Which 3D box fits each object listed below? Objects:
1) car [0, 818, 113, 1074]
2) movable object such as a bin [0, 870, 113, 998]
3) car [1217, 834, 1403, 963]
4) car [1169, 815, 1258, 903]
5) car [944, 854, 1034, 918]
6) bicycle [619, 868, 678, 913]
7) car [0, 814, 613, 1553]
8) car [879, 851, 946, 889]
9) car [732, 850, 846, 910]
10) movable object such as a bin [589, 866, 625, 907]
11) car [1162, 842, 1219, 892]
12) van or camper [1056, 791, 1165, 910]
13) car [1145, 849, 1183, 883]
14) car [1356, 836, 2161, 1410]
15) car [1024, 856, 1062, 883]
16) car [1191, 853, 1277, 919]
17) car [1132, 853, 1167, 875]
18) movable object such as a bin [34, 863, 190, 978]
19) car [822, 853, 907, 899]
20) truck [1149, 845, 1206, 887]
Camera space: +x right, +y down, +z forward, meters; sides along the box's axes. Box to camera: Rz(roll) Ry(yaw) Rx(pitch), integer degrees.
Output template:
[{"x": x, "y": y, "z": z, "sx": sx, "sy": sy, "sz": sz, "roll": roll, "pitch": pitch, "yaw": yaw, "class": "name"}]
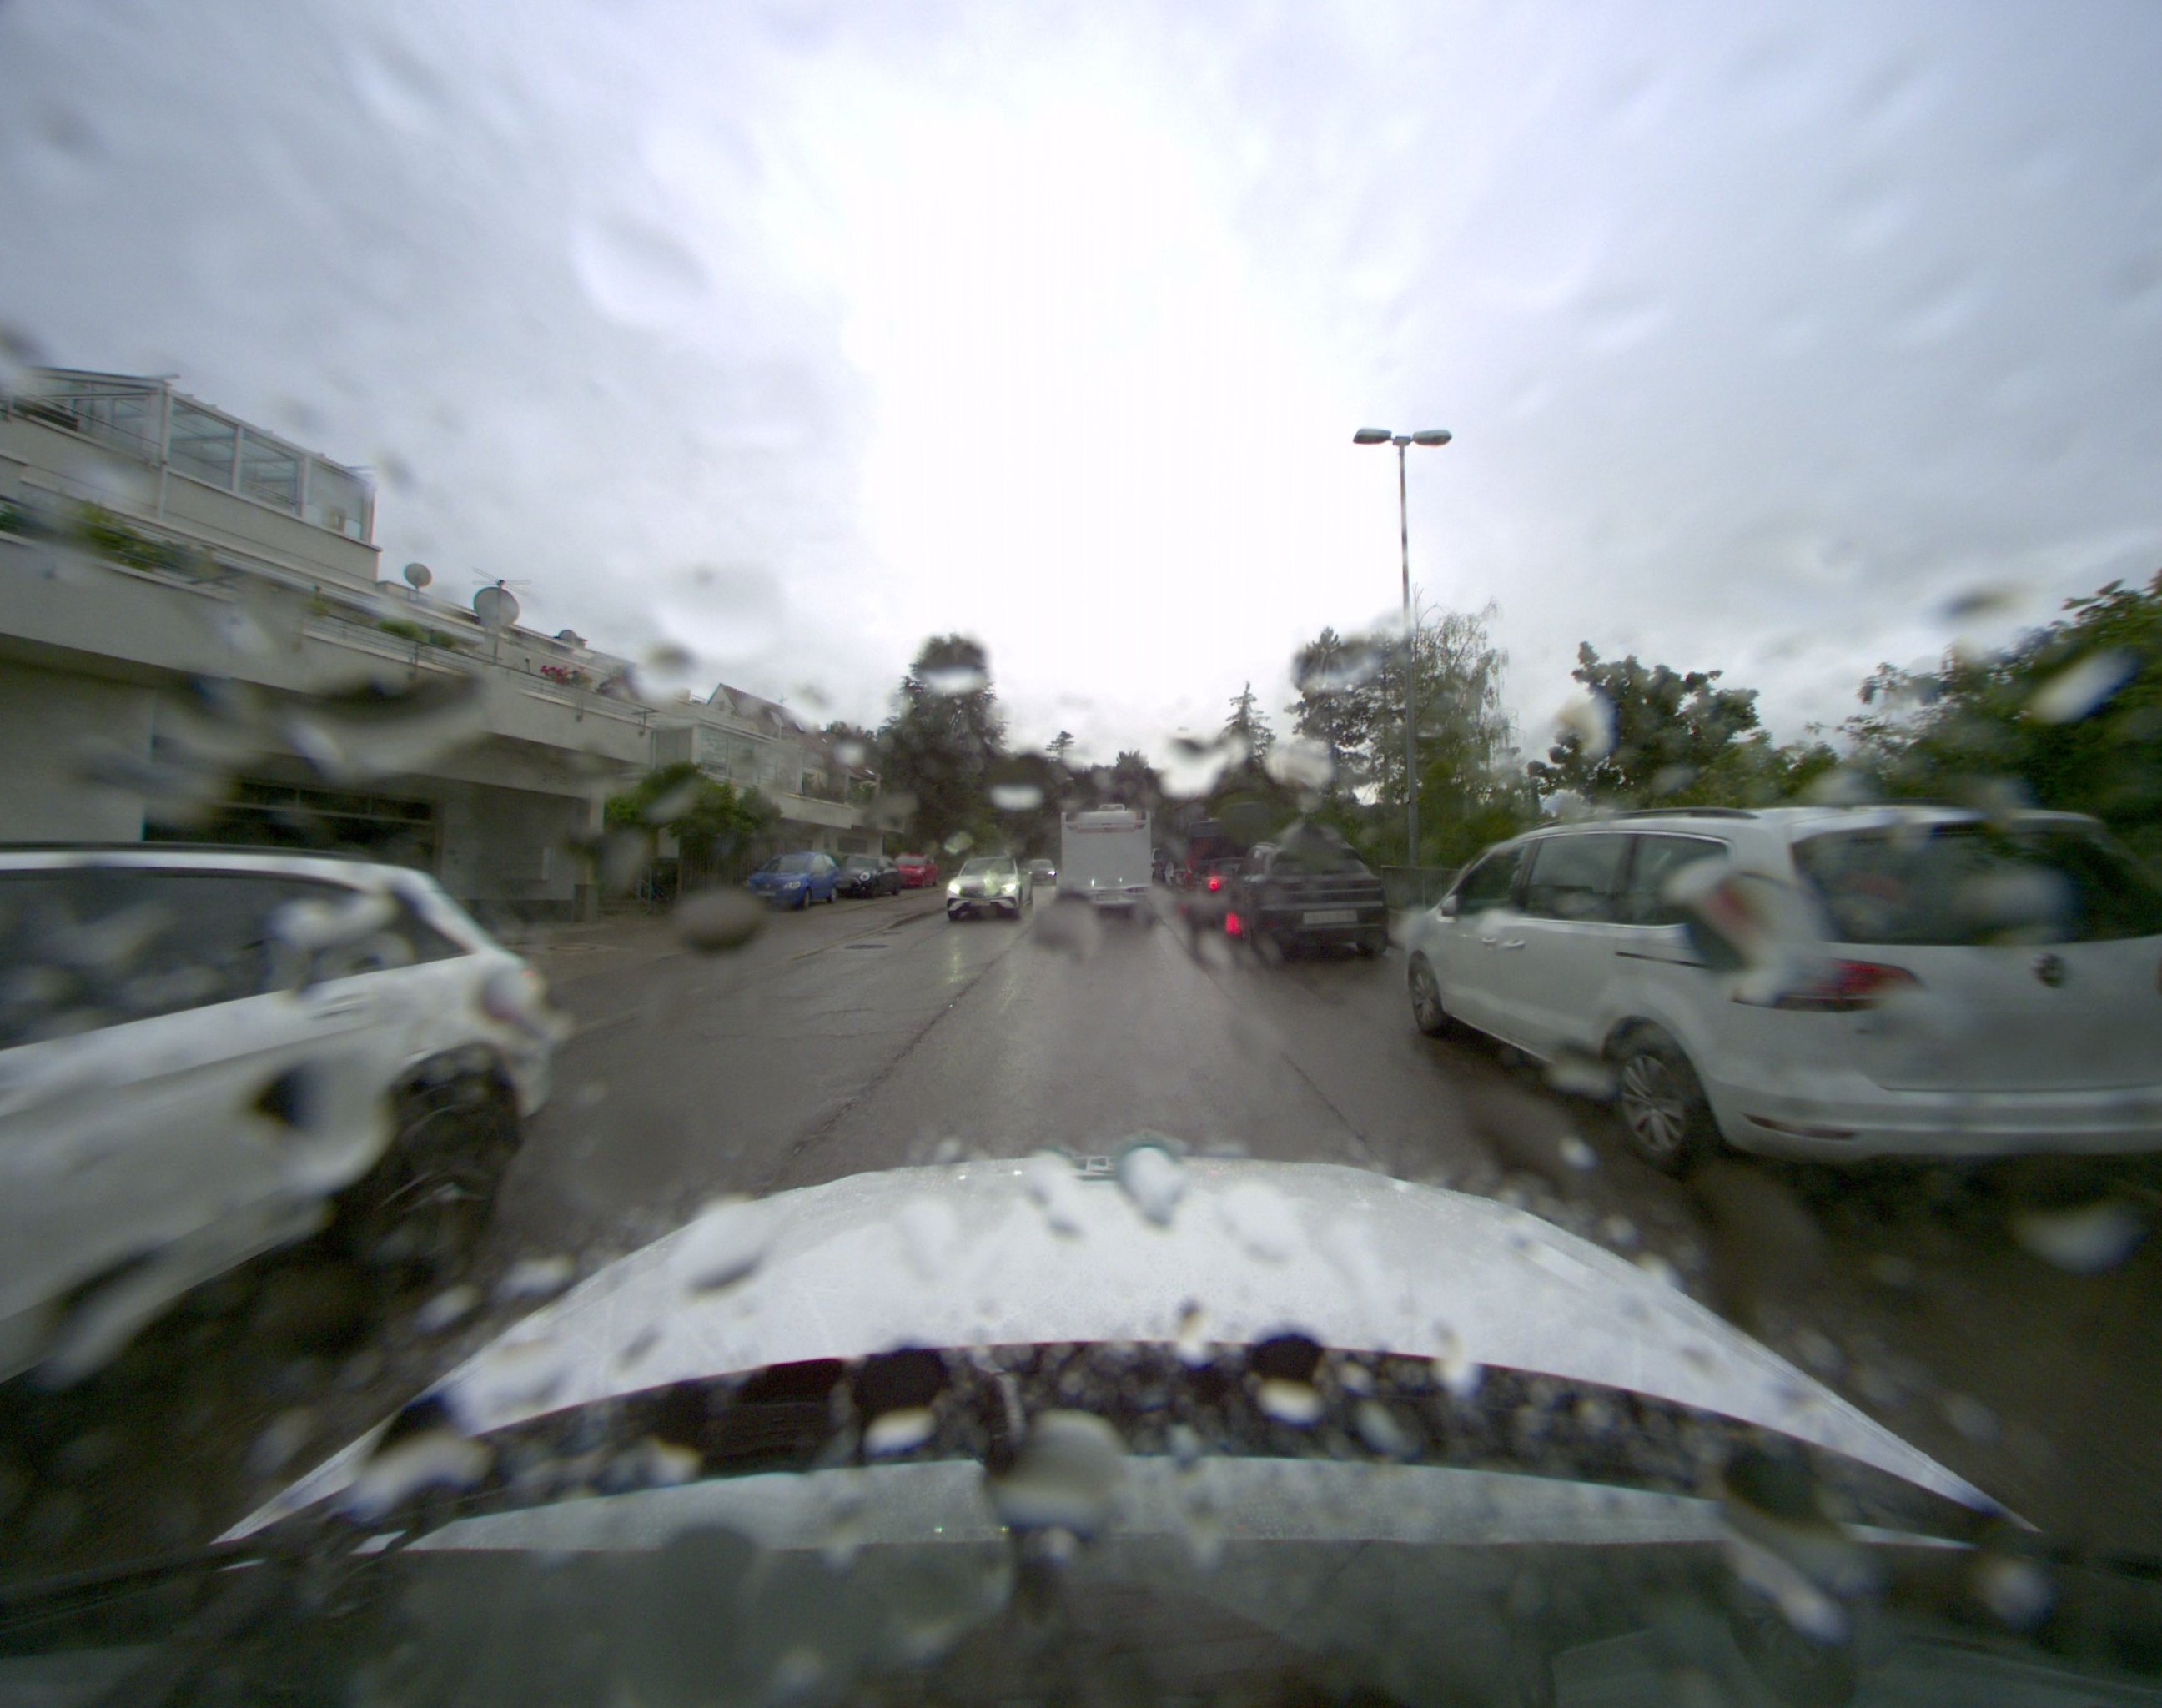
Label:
[{"x": -7.865, "y": 0.539, "z": 3.662, "sx": 1.681, "sy": 1.588, "sz": 4.202, "roll": 6, "pitch": 0, "yaw": 5, "class": "car"}, {"x": -9.679, "y": 0.706, "z": 7.411, "sx": 0.719, "sy": 1.070, "sz": 0.853, "roll": 4, "pitch": -1, "yaw": 19, "class": "movable object such as a bin"}, {"x": 3.433, "y": 0.608, "z": 13.192, "sx": 1.928, "sy": 1.672, "sz": 4.698, "roll": -2, "pitch": 0, "yaw": 3, "class": "car"}, {"x": 4.136, "y": 0.156, "z": 26.456, "sx": 2.024, "sy": 2.505, "sz": 5.958, "roll": -2, "pitch": 0, "yaw": 2, "class": "car"}, {"x": -2.392, "y": 0.781, "z": 22.230, "sx": 1.792, "sy": 1.567, "sz": 4.386, "roll": 0, "pitch": 0, "yaw": 2, "class": "car"}, {"x": -10.370, "y": 0.860, "z": 19.504, "sx": 1.549, "sy": 1.007, "sz": 0.481, "roll": 1, "pitch": -1, "yaw": 30, "class": "bicycle"}, {"x": -3.299, "y": 0.716, "z": 1.854, "sx": 1.900, "sy": 1.607, "sz": 4.427, "roll": 0, "pitch": 0, "yaw": 0, "class": "car"}, {"x": -7.448, "y": 0.673, "z": 36.438, "sx": 1.767, "sy": 1.437, "sz": 4.590, "roll": 4, "pitch": 0, "yaw": 2, "class": "car"}, {"x": -8.003, "y": 0.665, "z": 22.691, "sx": 1.601, "sy": 1.434, "sz": 3.960, "roll": 3, "pitch": 0, "yaw": 1, "class": "car"}, {"x": -12.384, "y": 0.835, "z": 21.272, "sx": 0.542, "sy": 1.041, "sz": 0.564, "roll": 1, "pitch": -1, "yaw": 15, "class": "movable object such as a bin"}, {"x": 4.448, "y": 0.492, "z": 33.668, "sx": 1.820, "sy": 1.842, "sz": 5.273, "roll": -2, "pitch": 0, "yaw": 2, "class": "car"}, {"x": 0.851, "y": 0.003, "z": 22.730, "sx": 2.605, "sy": 2.853, "sz": 6.033, "roll": 1, "pitch": -2, "yaw": 2, "class": "van or camper"}, {"x": 4.911, "y": 0.661, "z": 48.813, "sx": 1.853, "sy": 1.921, "sz": 5.080, "roll": 0, "pitch": 0, "yaw": 1, "class": "car"}, {"x": 3.583, "y": 0.813, "z": 5.235, "sx": 1.839, "sy": 1.683, "sz": 5.640, "roll": -2, "pitch": -1, "yaw": 2, "class": "car"}, {"x": -2.151, "y": 0.871, "z": 47.533, "sx": 1.767, "sy": 1.437, "sz": 4.364, "roll": -3, "pitch": 0, "yaw": 2, "class": "car"}, {"x": 3.656, "y": 0.714, "z": 20.009, "sx": 1.582, "sy": 1.429, "sz": 3.801, "roll": -2, "pitch": 0, "yaw": 3, "class": "car"}, {"x": 4.533, "y": 0.645, "z": 54.281, "sx": 1.683, "sy": 1.457, "sz": 4.050, "roll": 0, "pitch": 0, "yaw": -5, "class": "car"}, {"x": -10.013, "y": 0.666, "z": 8.438, "sx": 0.719, "sy": 1.070, "sz": 0.770, "roll": 4, "pitch": -1, "yaw": 19, "class": "movable object such as a bin"}, {"x": -7.444, "y": 0.713, "z": 28.408, "sx": 1.627, "sy": 1.396, "sz": 4.241, "roll": 3, "pitch": 0, "yaw": 2, "class": "car"}, {"x": 4.619, "y": 0.552, "z": 40.066, "sx": 2.106, "sy": 1.852, "sz": 6.619, "roll": 1, "pitch": 0, "yaw": 1, "class": "truck"}]
